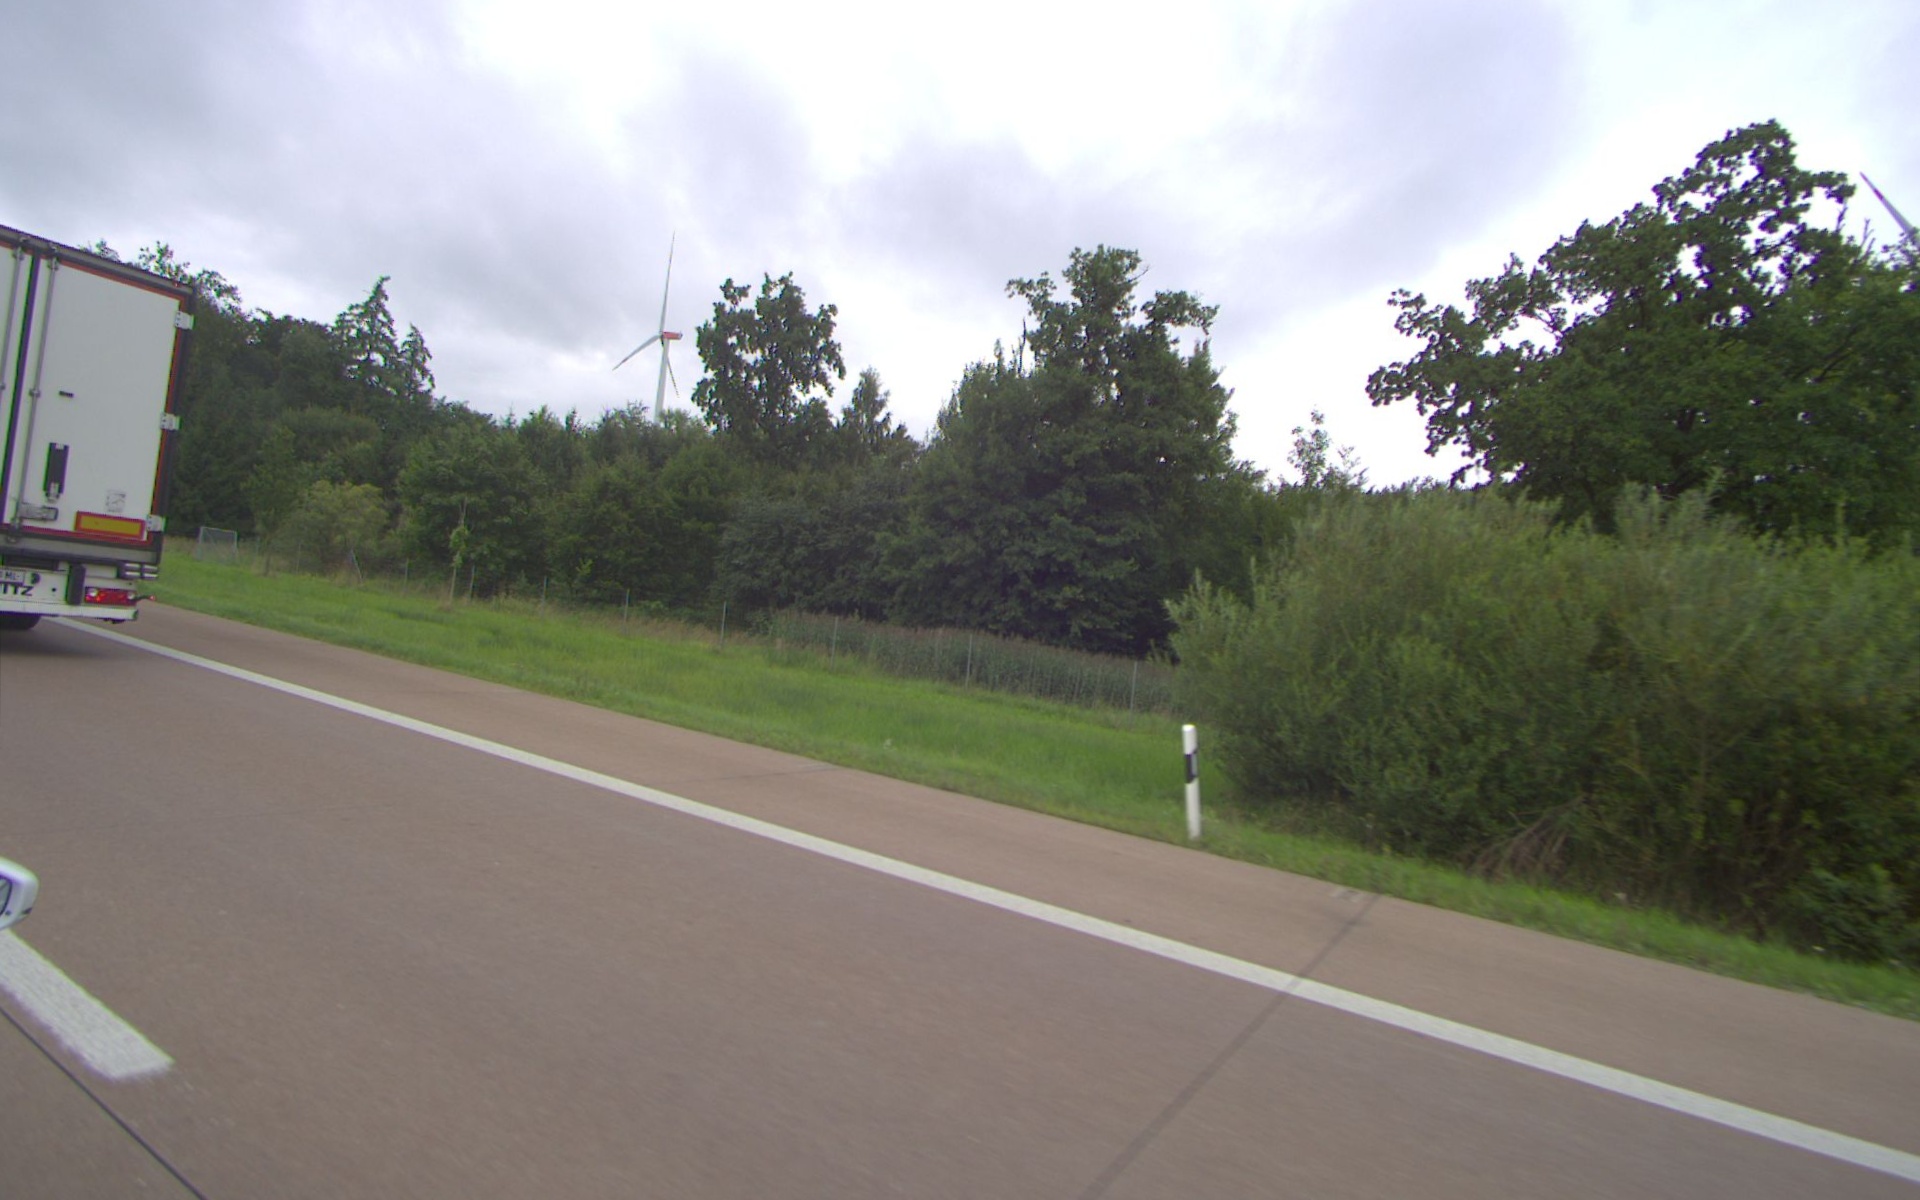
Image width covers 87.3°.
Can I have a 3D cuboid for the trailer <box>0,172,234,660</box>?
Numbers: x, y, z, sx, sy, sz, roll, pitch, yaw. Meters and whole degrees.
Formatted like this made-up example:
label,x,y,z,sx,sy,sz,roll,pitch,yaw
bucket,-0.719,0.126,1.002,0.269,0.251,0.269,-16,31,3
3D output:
label,x,y,z,sx,sy,sz,roll,pitch,yaw
trailer,-14.363,-2.312,12.905,13.387,4.345,2.926,7,-1,32
